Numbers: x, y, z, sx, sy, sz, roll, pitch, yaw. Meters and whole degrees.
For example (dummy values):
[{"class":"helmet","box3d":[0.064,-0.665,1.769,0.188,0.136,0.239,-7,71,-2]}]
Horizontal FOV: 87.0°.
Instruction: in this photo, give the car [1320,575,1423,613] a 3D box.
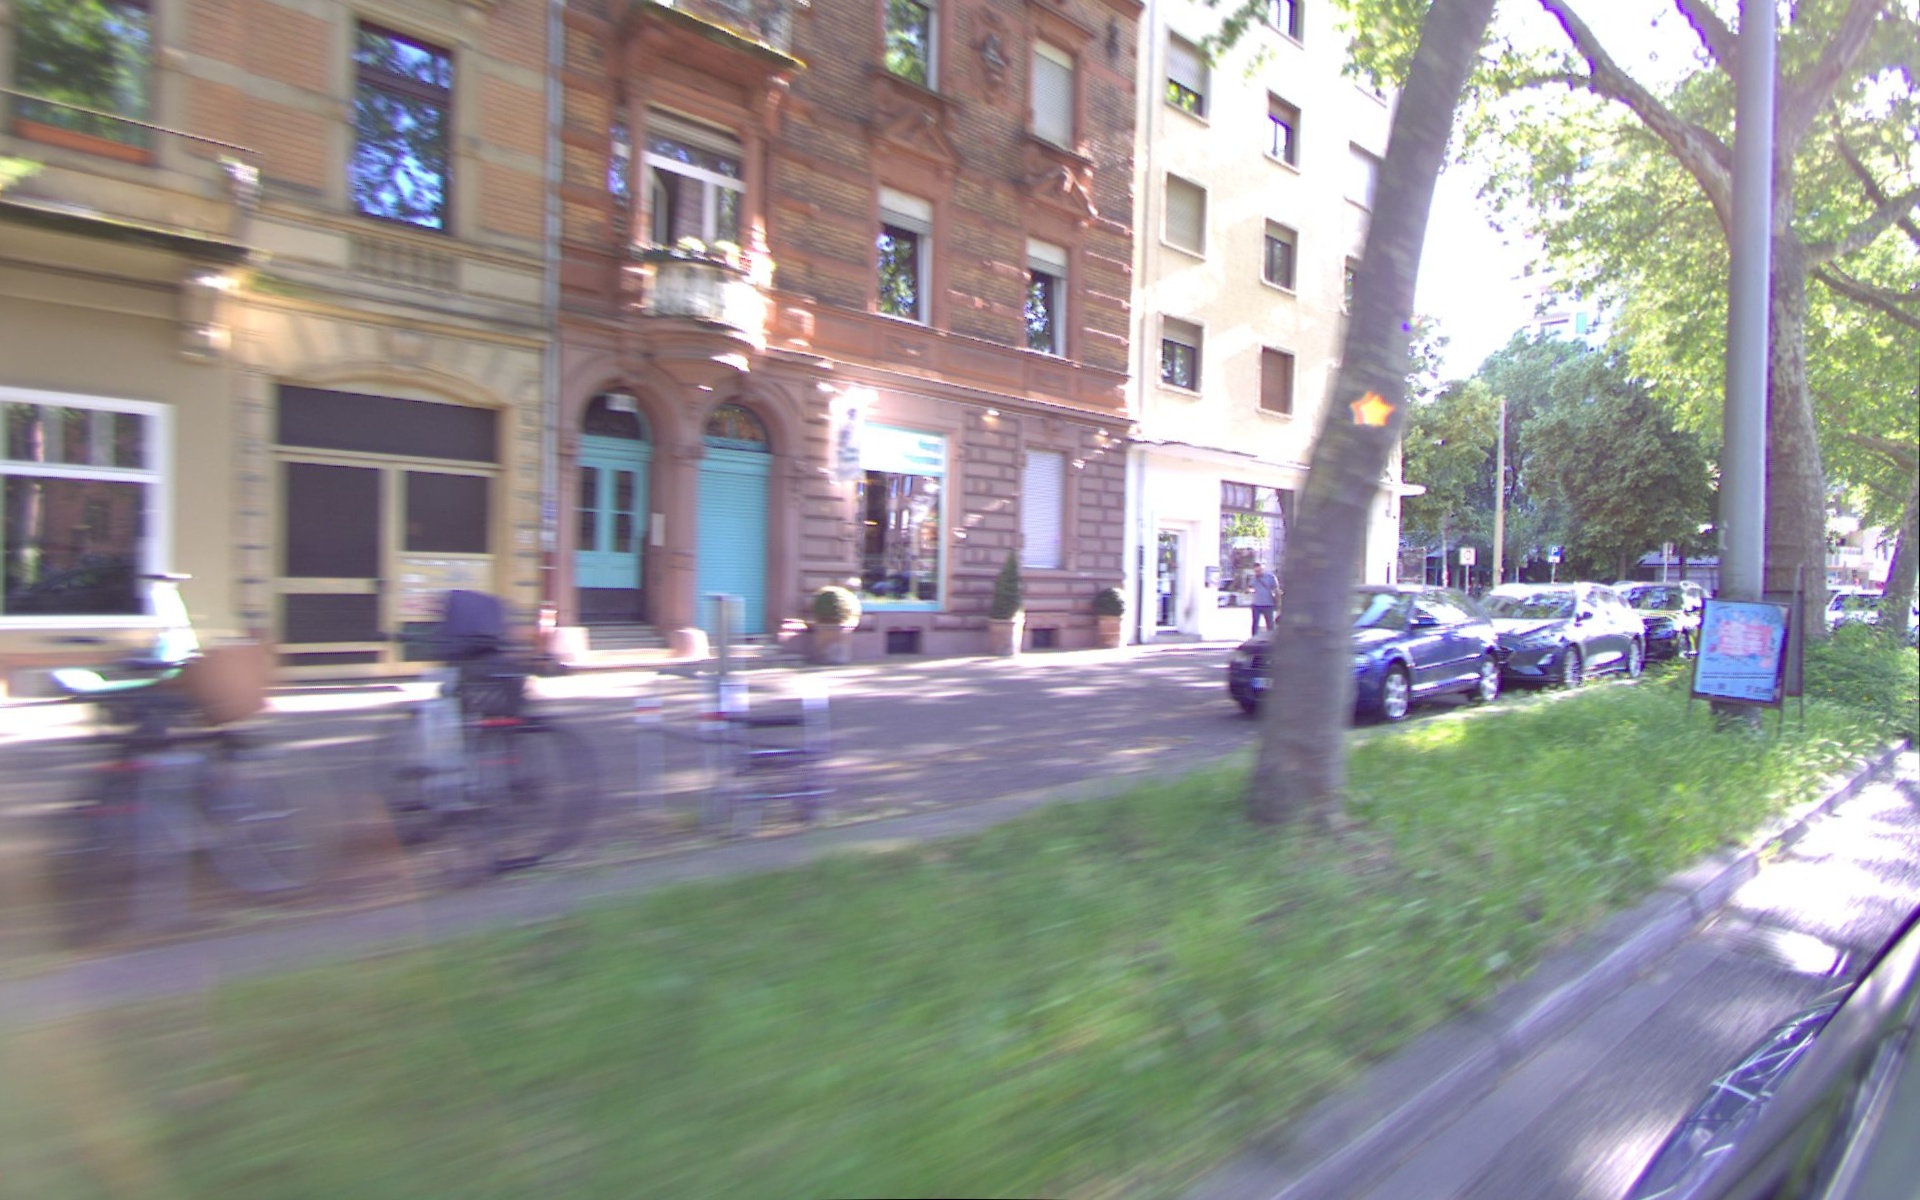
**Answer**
[{"class":"car","box3d":[18.837,-0.280,46.341,4.299,1.648,2.004,0,1,-26]}]

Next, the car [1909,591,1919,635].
[{"class":"car","box3d":[32.693,0.421,33.234,4.939,1.415,1.756,0,1,-41]}]

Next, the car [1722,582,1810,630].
[{"class":"car","box3d":[31.787,0.193,39.870,5.077,1.763,1.823,0,2,-41]}]

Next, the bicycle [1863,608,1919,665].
[{"class":"bicycle","box3d":[18.592,0.719,19.585,0.396,1.071,1.599,0,1,-34]}]

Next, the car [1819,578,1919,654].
[{"class":"car","box3d":[22.581,0.343,24.776,4.744,1.656,1.905,0,2,-44]}]

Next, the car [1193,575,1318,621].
[{"class":"car","box3d":[11.067,-0.123,38.303,1.959,1.600,4.610,1,1,-25]}]

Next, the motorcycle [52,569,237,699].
[{"class":"motorcycle","box3d":[-7.690,0.292,9.588,0.502,1.138,1.278,2,1,34]}]

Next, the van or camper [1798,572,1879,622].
[{"class":"van or camper","box3d":[43.333,-0.171,49.859,5.722,2.315,2.295,0,1,-42]}]

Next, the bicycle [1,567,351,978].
[{"class":"bicycle","box3d":[-3.380,0.533,4.367,0.965,1.310,2.168,0,1,-40]}]

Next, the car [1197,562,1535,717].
[{"class":"car","box3d":[4.667,0.363,11.369,4.119,1.425,1.836,0,-1,-41]}]

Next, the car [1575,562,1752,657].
[{"class":"car","box3d":[13.064,0.165,18.698,4.186,1.549,1.698,1,1,-41]}]

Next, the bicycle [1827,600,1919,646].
[{"class":"bicycle","box3d":[20.150,0.501,22.108,1.734,0.939,0.652,1,1,9]}]

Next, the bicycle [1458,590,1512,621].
[{"class":"bicycle","box3d":[20.313,0.201,39.196,0.463,1.117,2.150,1,1,-16]}]

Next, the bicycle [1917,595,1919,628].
[{"class":"bicycle","box3d":[27.642,0.326,28.627,2.127,0.937,0.640,0,1,-41]}]

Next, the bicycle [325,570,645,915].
[{"class":"bicycle","box3d":[-2.431,0.525,4.994,0.965,1.310,2.169,0,1,-38]}]

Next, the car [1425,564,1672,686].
[{"class":"car","box3d":[8.717,0.319,14.816,4.500,1.526,1.699,1,1,-40]}]

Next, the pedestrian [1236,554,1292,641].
[{"class":"pedestrian","box3d":[6.226,-0.059,20.718,0.711,1.725,0.797,0,1,-40]}]
